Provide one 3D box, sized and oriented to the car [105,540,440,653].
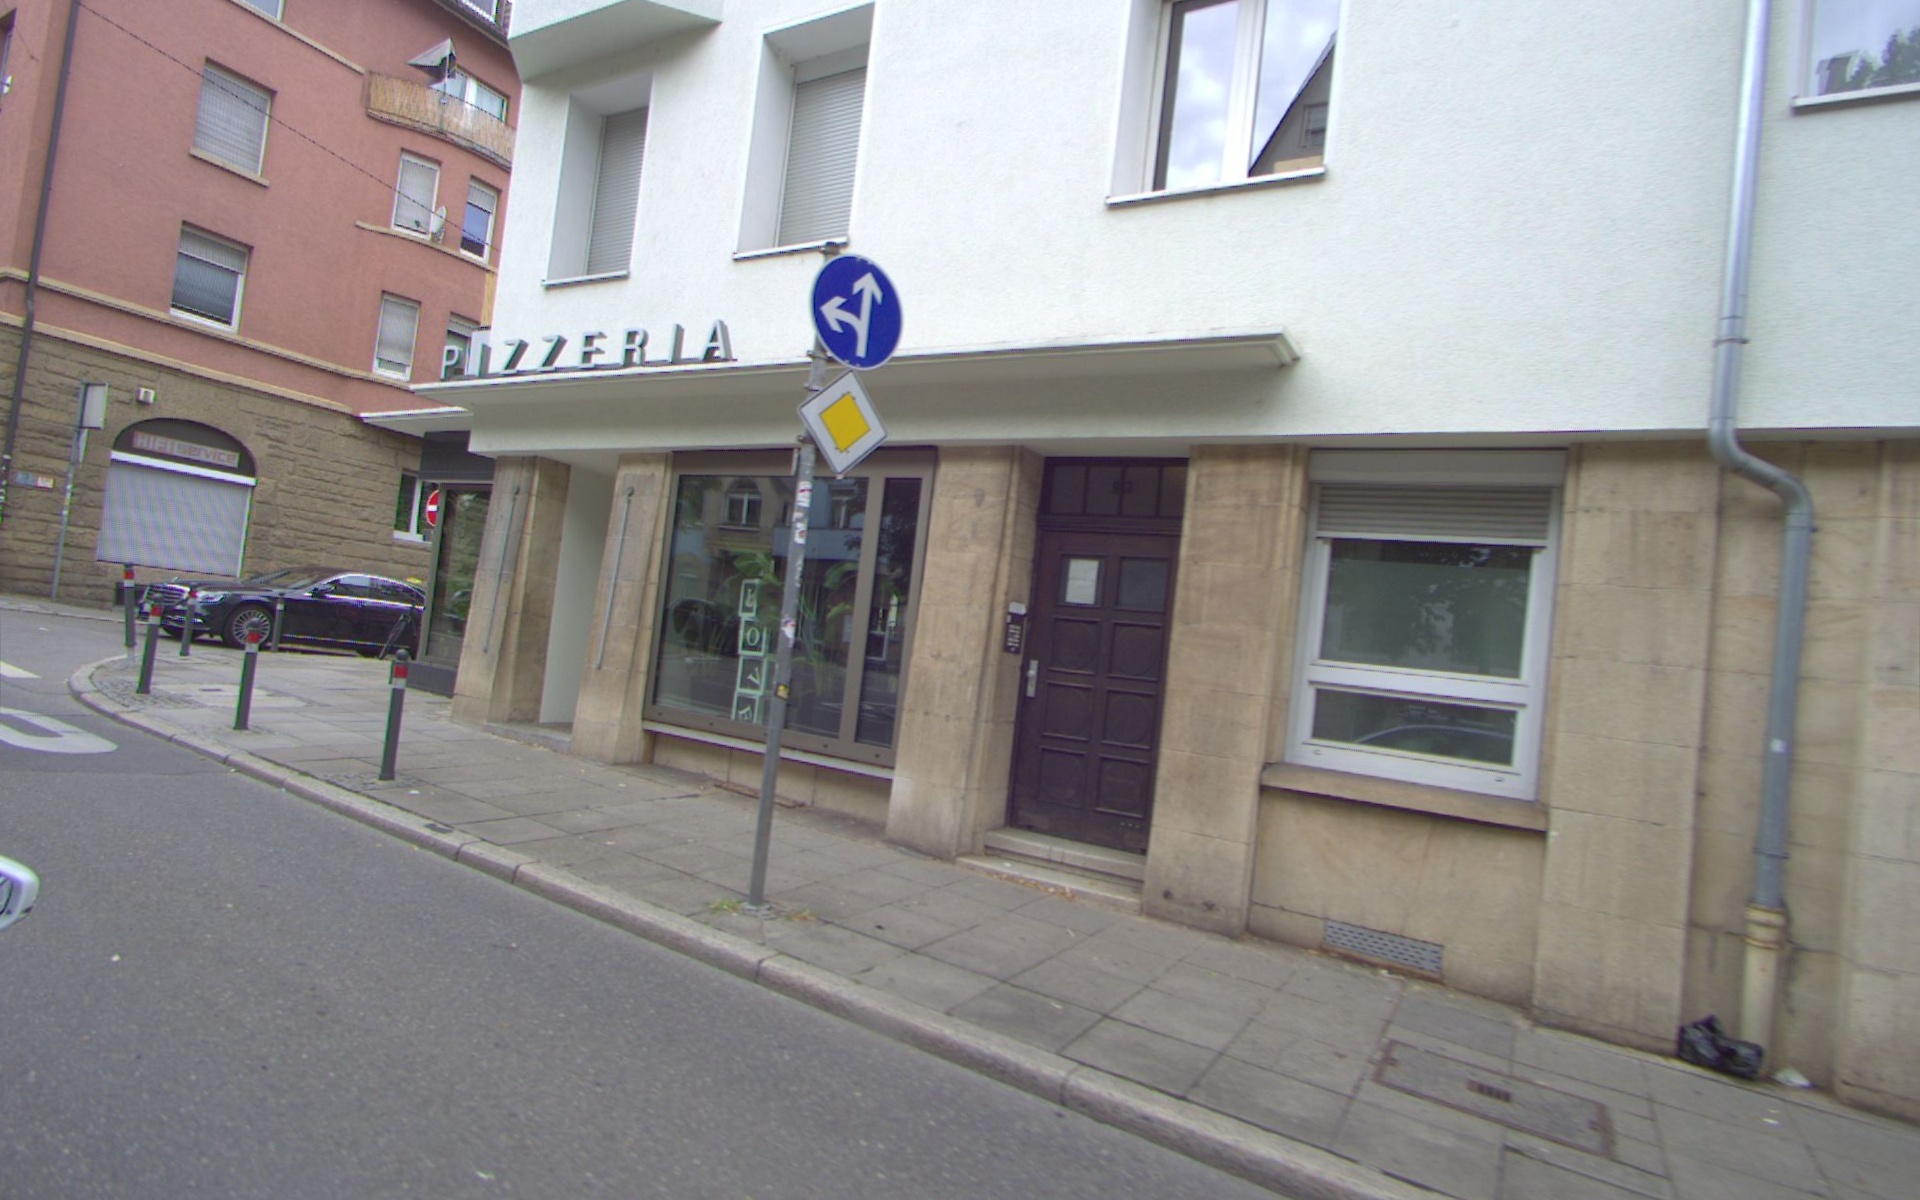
[{"bbox_3d":[-11.029,0.018,16.463,1.965,1.391,3.999,4,-3,27],"label":"car"}]
